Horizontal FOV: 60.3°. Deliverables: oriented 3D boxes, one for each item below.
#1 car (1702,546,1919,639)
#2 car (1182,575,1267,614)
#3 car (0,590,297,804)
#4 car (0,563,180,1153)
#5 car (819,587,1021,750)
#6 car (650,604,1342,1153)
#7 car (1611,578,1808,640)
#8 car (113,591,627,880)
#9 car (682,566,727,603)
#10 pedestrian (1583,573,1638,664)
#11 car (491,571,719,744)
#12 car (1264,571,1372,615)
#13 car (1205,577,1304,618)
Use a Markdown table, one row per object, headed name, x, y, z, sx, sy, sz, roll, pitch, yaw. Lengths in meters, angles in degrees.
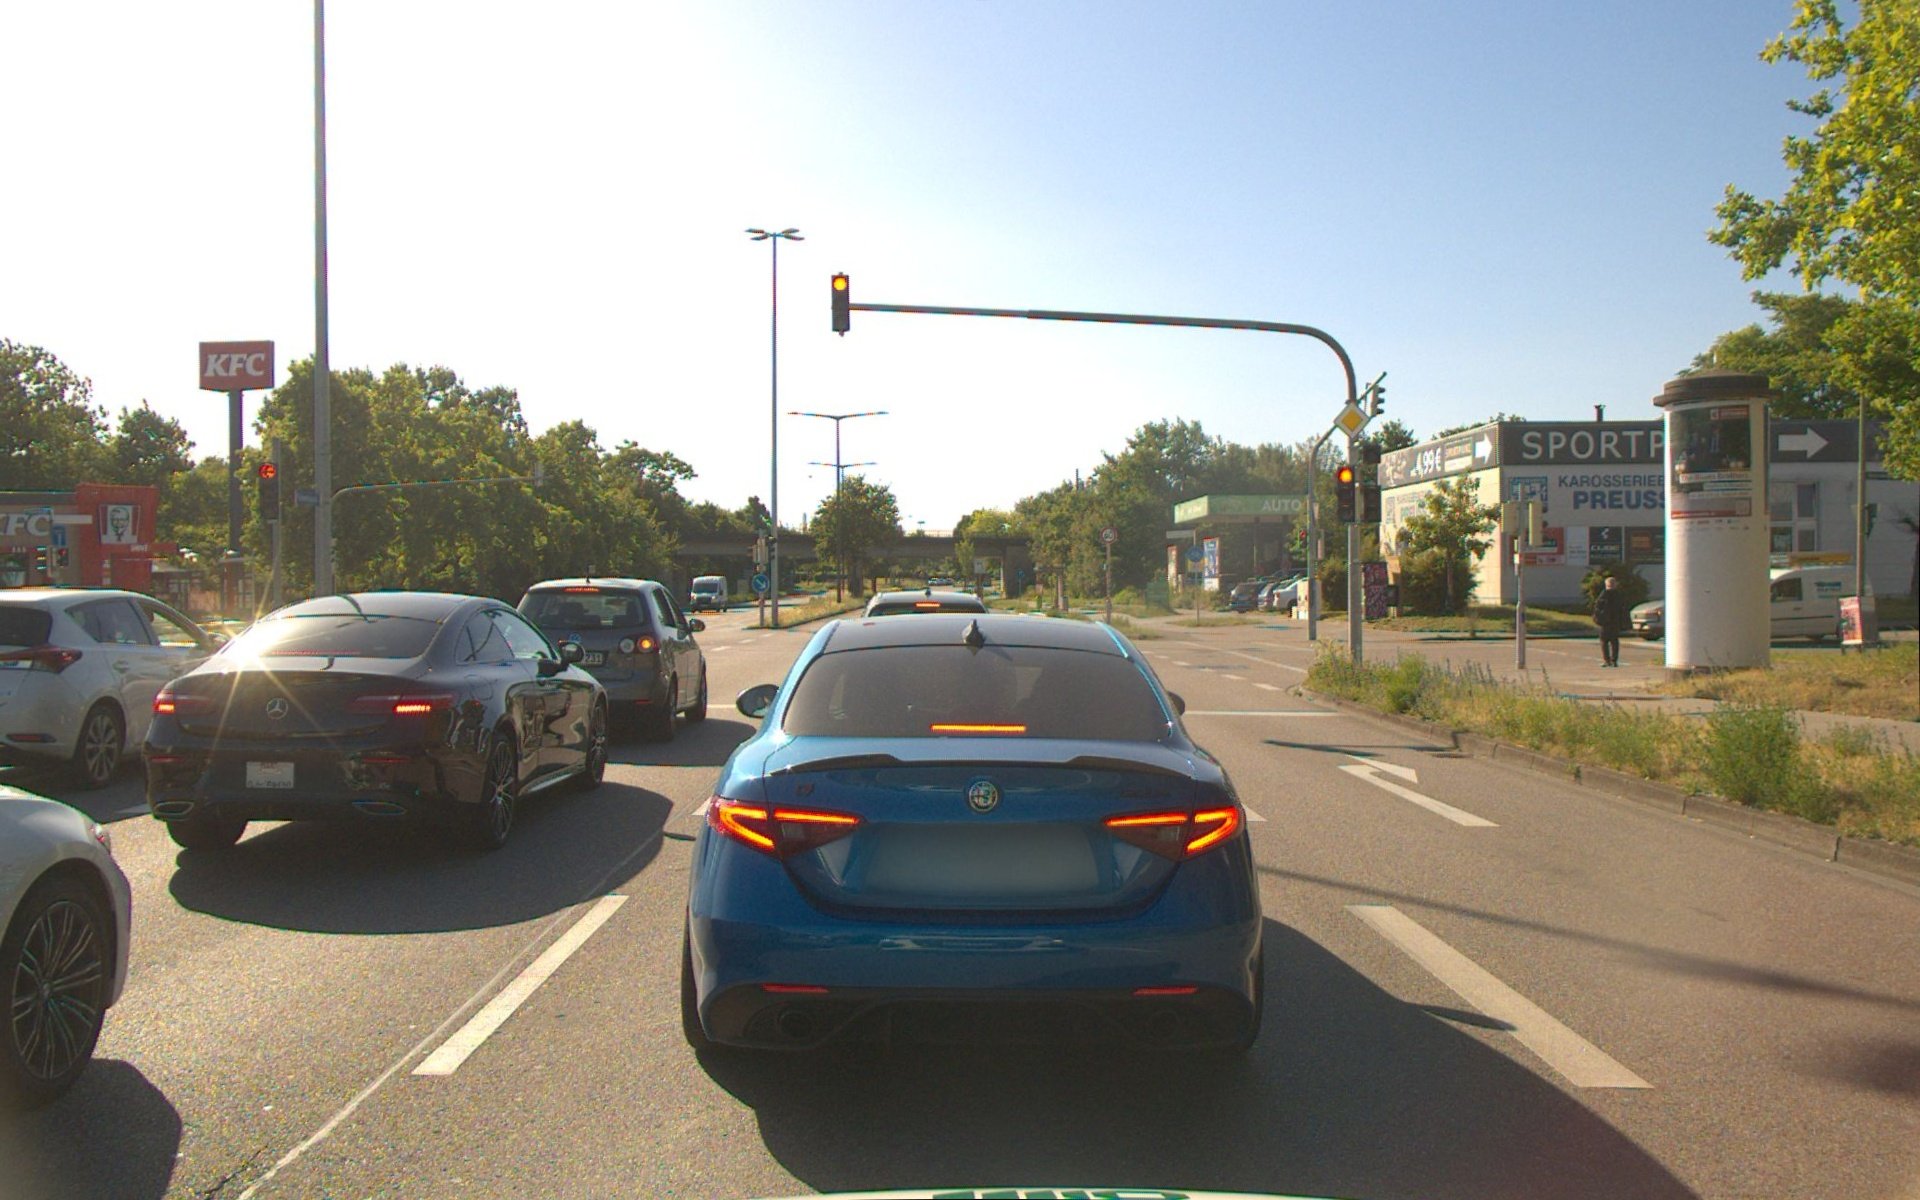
| name | x | y | z | sx | sy | sz | roll | pitch | yaw |
| --- | --- | --- | --- | --- | --- | --- | --- | --- | --- |
| car | 20.601 | -0.189 | 40.144 | 4.318 | 2.183 | 1.998 | 0 | 0 | -4 |
| car | 11.874 | -0.264 | 74.316 | 3.428 | 1.736 | 1.688 | 0 | 0 | -17 |
| car | -7.167 | 0.650 | 13.473 | 1.819 | 1.454 | 4.403 | 0 | 0 | -1 |
| car | -3.349 | 0.683 | 3.081 | 1.732 | 1.535 | 4.460 | 0 | 0 | -1 |
| car | -0.394 | 0.609 | 17.039 | 1.828 | 1.475 | 3.931 | 0 | 0 | -1 |
| car | 0.072 | 0.748 | 6.355 | 1.828 | 1.409 | 3.931 | 0 | 0 | -1 |
| car | 19.757 | 0.225 | 43.713 | 4.318 | 1.580 | 1.998 | 0 | 0 | -4 |
| car | -3.415 | 0.670 | 10.554 | 1.732 | 1.439 | 4.460 | 0 | 0 | -1 |
| car | -17.690 | -1.093 | 114.685 | 2.383 | 2.469 | 5.828 | 0 | 0 | -2 |
| pedestrian | 12.668 | 0.355 | 32.222 | 0.805 | 1.752 | 0.854 | 0 | 0 | 6 |
| car | -3.614 | 0.524 | 17.471 | 1.615 | 1.626 | 3.931 | 0 | 0 | -1 |
| car | 14.342 | -0.279 | 66.308 | 3.923 | 1.736 | 1.687 | 0 | 0 | -17 |
| car | 12.670 | -0.128 | 71.137 | 3.928 | 1.736 | 1.686 | 0 | 0 | -20 |
